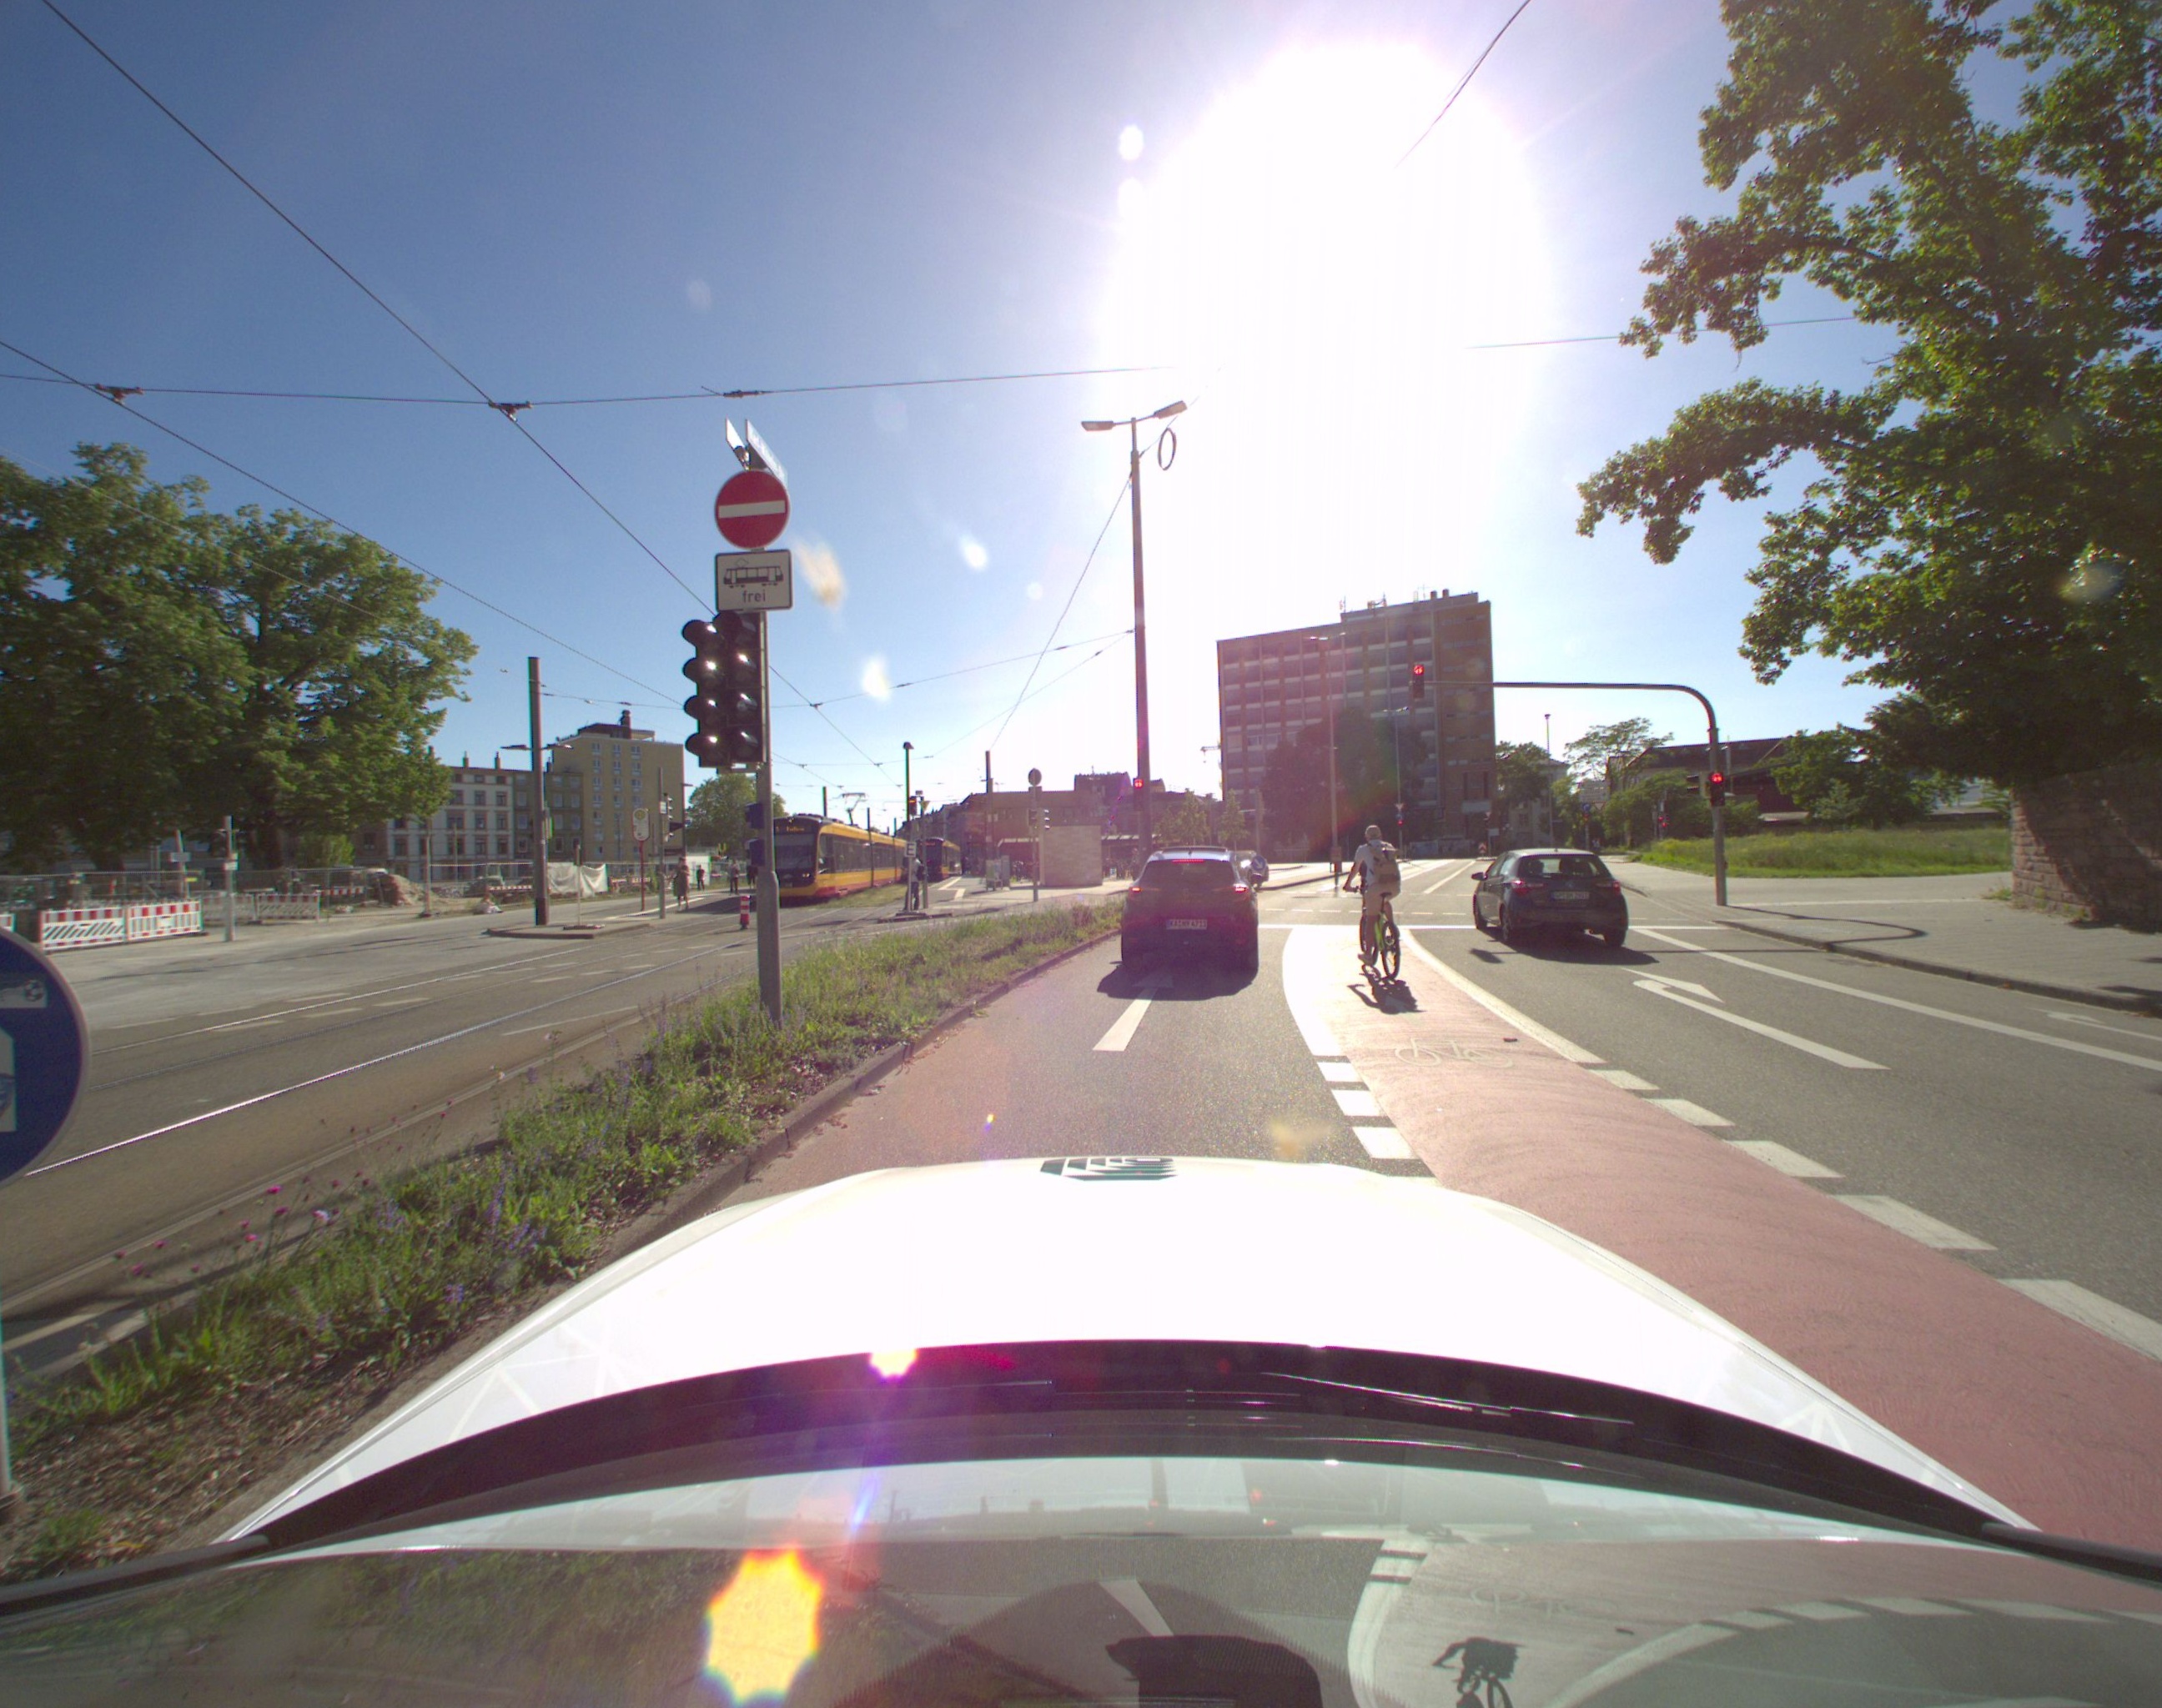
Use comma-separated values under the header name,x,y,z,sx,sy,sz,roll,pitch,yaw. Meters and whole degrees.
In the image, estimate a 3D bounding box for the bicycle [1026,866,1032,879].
name,x,y,z,sx,sy,sz,roll,pitch,yaw
bicycle,-3.791,1.324,58.841,0.421,0.938,1.377,0,-1,-4

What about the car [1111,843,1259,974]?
name,x,y,z,sx,sy,sz,roll,pitch,yaw
car,1.672,0.663,11.910,1.811,1.600,3.671,0,0,12

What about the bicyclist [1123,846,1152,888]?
name,x,y,z,sx,sy,sz,roll,pitch,yaw
bicyclist,2.319,0.535,33.329,0.872,1.644,1.066,-3,-1,21

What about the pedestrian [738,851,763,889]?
name,x,y,z,sx,sy,sz,roll,pitch,yaw
pedestrian,-17.745,0.872,43.760,0.958,2.014,0.999,-1,-2,0

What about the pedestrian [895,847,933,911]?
name,x,y,z,sx,sy,sz,roll,pitch,yaw
pedestrian,-4.922,0.730,24.011,1.019,1.832,0.756,0,-2,-18

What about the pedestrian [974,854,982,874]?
name,x,y,z,sx,sy,sz,roll,pitch,yaw
pedestrian,-9.646,0.975,76.109,0.672,1.857,0.702,0,-2,-2

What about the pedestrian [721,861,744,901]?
name,x,y,z,sx,sy,sz,roll,pitch,yaw
pedestrian,-16.105,1.250,37.643,0.867,1.767,0.964,-2,-1,-28

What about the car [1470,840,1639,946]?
name,x,y,z,sx,sy,sz,roll,pitch,yaw
car,7.832,0.577,13.838,1.742,1.541,3.676,-1,0,18

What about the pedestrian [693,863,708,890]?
name,x,y,z,sx,sy,sz,roll,pitch,yaw
pedestrian,-25.424,1.468,54.374,0.667,1.767,0.798,-2,0,-8

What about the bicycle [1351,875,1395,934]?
name,x,y,z,sx,sy,sz,roll,pitch,yaw
bicycle,5.458,0.904,15.169,0.716,0.960,1.893,0,0,21

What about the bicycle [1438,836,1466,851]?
name,x,y,z,sx,sy,sz,roll,pitch,yaw
bicycle,42.560,-1.205,93.441,2.774,1.541,0.890,-1,-2,32

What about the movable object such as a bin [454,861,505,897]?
name,x,y,z,sx,sy,sz,roll,pitch,yaw
movable object such as a bin,-48.018,1.974,65.005,3.948,2.796,1.844,-1,-2,31

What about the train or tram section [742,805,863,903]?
name,x,y,z,sx,sy,sz,roll,pitch,yaw
train or tram section,-11.668,0.021,35.252,2.815,3.508,10.451,-2,0,-8

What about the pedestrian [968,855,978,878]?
name,x,y,z,sx,sy,sz,roll,pitch,yaw
pedestrian,-9.072,1.057,68.383,0.847,1.883,0.758,0,-2,-9

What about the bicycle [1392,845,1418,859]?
name,x,y,z,sx,sy,sz,roll,pitch,yaw
bicycle,38.369,-0.258,96.497,2.774,1.541,0.890,-1,-2,32

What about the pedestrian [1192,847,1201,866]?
name,x,y,z,sx,sy,sz,roll,pitch,yaw
pedestrian,11.646,0.258,82.217,0.724,1.857,0.702,0,-2,-4

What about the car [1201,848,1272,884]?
name,x,y,z,sx,sy,sz,roll,pitch,yaw
car,6.739,0.470,34.997,1.783,1.393,4.118,-2,0,29

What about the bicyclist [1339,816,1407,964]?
name,x,y,z,sx,sy,sz,roll,pitch,yaw
bicyclist,3.628,0.435,10.193,0.659,1.747,1.009,-1,0,14

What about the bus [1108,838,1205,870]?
name,x,y,z,sx,sy,sz,roll,pitch,yaw
bus,8.489,0.144,94.003,2.898,3.396,12.293,1,-2,-43

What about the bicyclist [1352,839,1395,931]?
name,x,y,z,sx,sy,sz,roll,pitch,yaw
bicyclist,5.399,0.554,15.018,0.715,1.626,1.060,-1,0,21

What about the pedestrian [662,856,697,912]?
name,x,y,z,sx,sy,sz,roll,pitch,yaw
pedestrian,-13.782,1.010,27.954,0.761,1.850,0.899,-2,2,-9

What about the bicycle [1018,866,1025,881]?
name,x,y,z,sx,sy,sz,roll,pitch,yaw
bicycle,-3.940,1.288,53.796,0.421,0.938,1.302,0,-1,-8

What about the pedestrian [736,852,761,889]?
name,x,y,z,sx,sy,sz,roll,pitch,yaw
pedestrian,-18.530,0.917,45.435,0.958,2.014,0.999,-1,-2,0

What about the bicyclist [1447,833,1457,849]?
name,x,y,z,sx,sy,sz,roll,pitch,yaw
bicyclist,42.553,-1.488,93.432,0.850,1.692,0.890,-1,-2,32

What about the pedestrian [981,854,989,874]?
name,x,y,z,sx,sy,sz,roll,pitch,yaw
pedestrian,-9.330,0.963,78.897,0.739,1.918,0.740,0,-2,-10

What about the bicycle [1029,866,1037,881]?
name,x,y,z,sx,sy,sz,roll,pitch,yaw
bicycle,-3.167,1.285,54.046,0.421,0.938,1.302,0,-1,-8

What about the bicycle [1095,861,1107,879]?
name,x,y,z,sx,sy,sz,roll,pitch,yaw
bicycle,1.173,0.940,48.226,0.579,1.058,1.815,0,-1,-2

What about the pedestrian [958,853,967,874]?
name,x,y,z,sx,sy,sz,roll,pitch,yaw
pedestrian,-10.798,0.875,74.321,0.739,1.918,0.740,0,-2,-8

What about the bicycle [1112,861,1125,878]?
name,x,y,z,sx,sy,sz,roll,pitch,yaw
bicycle,2.226,0.935,48.489,0.579,0.961,2.057,0,-1,-2

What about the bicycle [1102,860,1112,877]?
name,x,y,z,sx,sy,sz,roll,pitch,yaw
bicycle,1.723,0.957,54.248,0.579,1.088,2.057,0,-1,-2

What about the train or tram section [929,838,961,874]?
name,x,y,z,sx,sy,sz,roll,pitch,yaw
train or tram section,-14.487,0.236,87.167,2.868,3.508,10.516,-1,0,-7

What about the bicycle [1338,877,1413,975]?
name,x,y,z,sx,sy,sz,roll,pitch,yaw
bicycle,3.651,0.851,10.217,0.658,1.047,1.897,-1,0,14

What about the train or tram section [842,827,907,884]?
name,x,y,z,sx,sy,sz,roll,pitch,yaw
train or tram section,-14.086,0.126,56.491,2.813,3.508,11.185,-1,0,-6

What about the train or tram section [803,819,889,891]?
name,x,y,z,sx,sy,sz,roll,pitch,yaw
train or tram section,-12.906,0.085,45.718,2.813,3.508,10.587,-1,0,-6

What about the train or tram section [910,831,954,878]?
name,x,y,z,sx,sy,sz,roll,pitch,yaw
train or tram section,-11.967,0.087,66.290,2.868,3.508,10.516,-1,0,-7

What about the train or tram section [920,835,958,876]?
name,x,y,z,sx,sy,sz,roll,pitch,yaw
train or tram section,-13.250,0.172,76.731,2.868,3.508,10.516,-1,0,-7

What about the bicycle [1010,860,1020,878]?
name,x,y,z,sx,sy,sz,roll,pitch,yaw
bicycle,-4.213,0.954,52.095,0.565,1.093,2.026,0,-1,-4

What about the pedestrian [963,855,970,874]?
name,x,y,z,sx,sy,sz,roll,pitch,yaw
pedestrian,-11.034,0.993,78.536,0.630,1.857,0.702,0,-2,-2

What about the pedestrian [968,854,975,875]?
name,x,y,z,sx,sy,sz,roll,pitch,yaw
pedestrian,-9.774,0.898,72.668,0.633,1.857,0.700,0,-2,-12

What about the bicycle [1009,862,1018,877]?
name,x,y,z,sx,sy,sz,roll,pitch,yaw
bicycle,-4.861,1.105,58.524,0.565,1.093,2.026,0,-1,-4

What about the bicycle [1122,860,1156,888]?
name,x,y,z,sx,sy,sz,roll,pitch,yaw
bicycle,2.392,0.814,33.332,0.766,1.080,2.046,-3,-1,21
